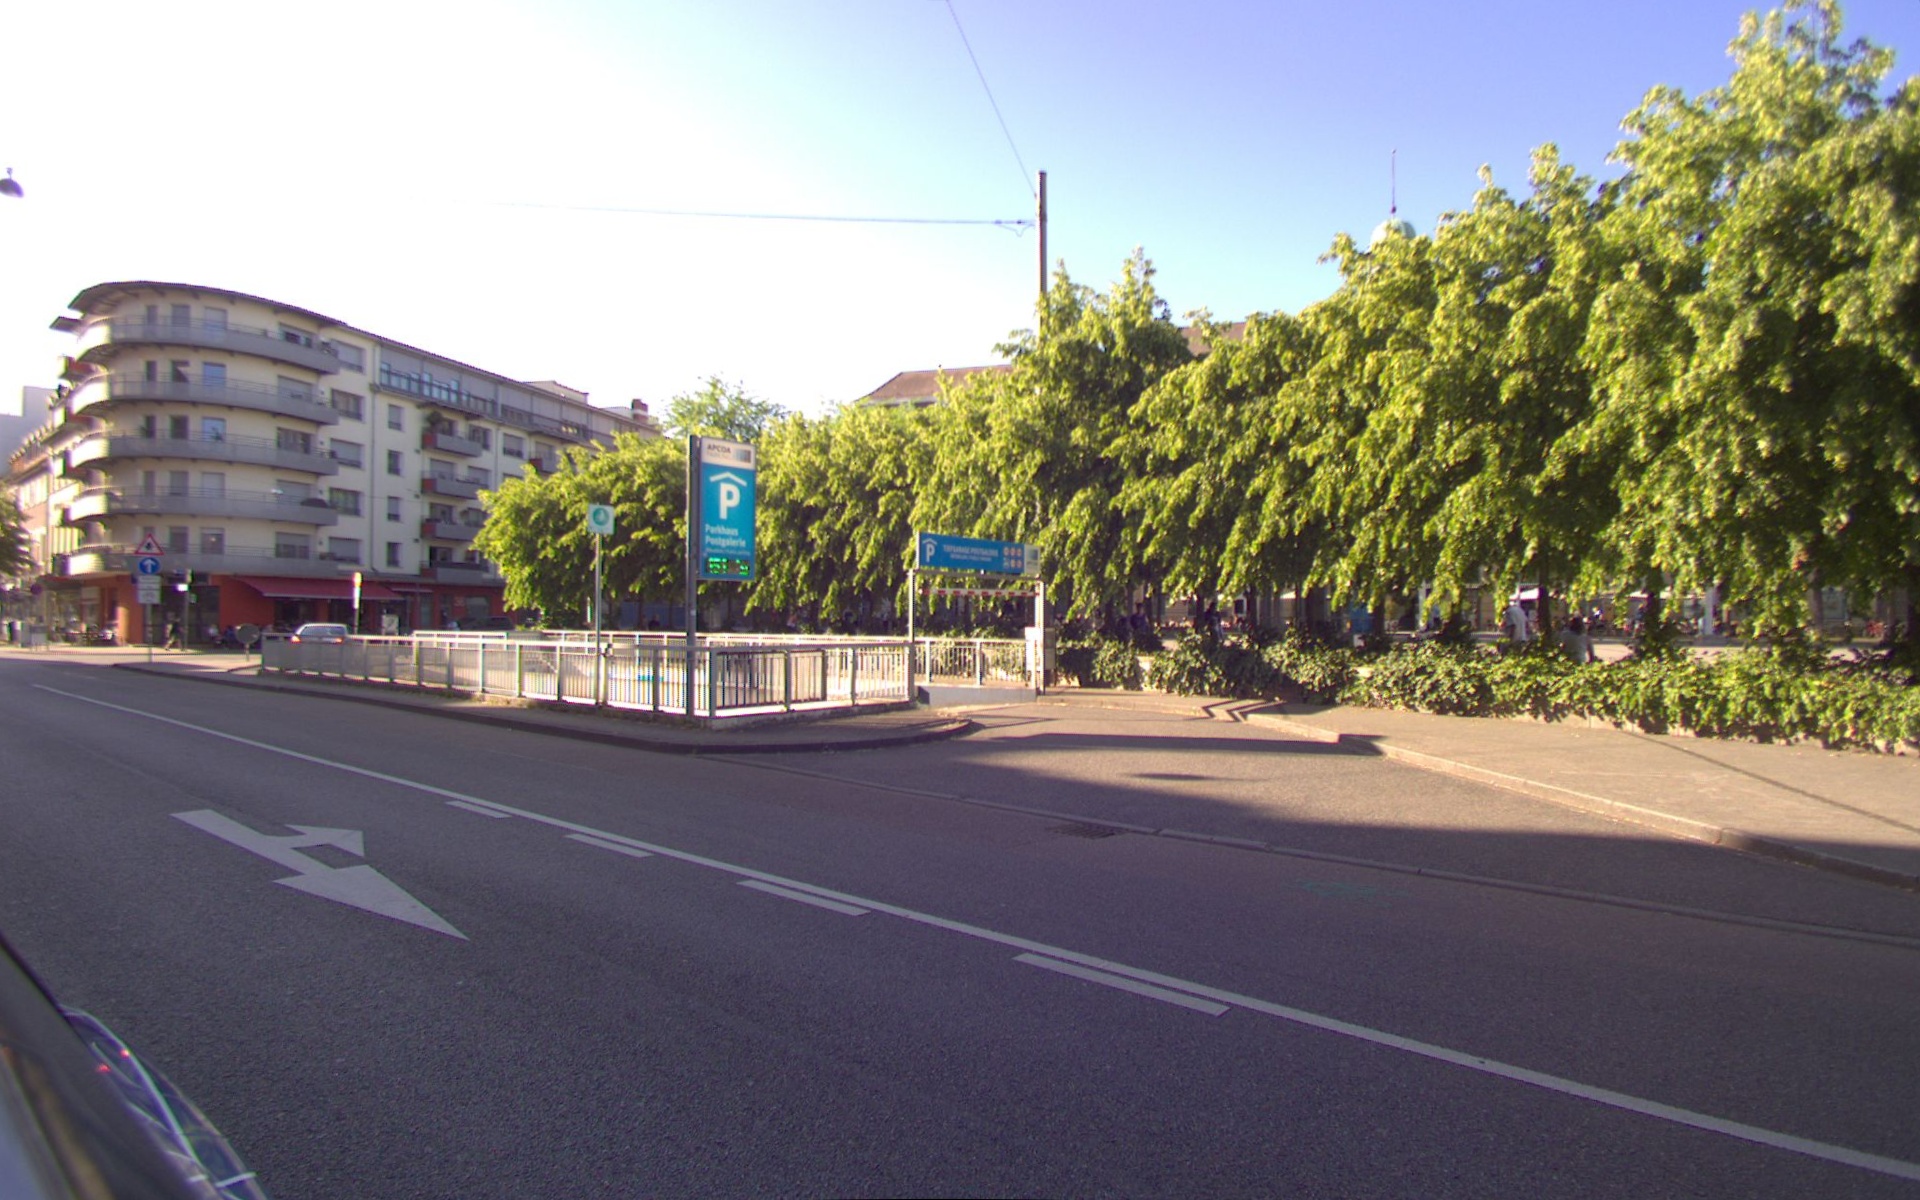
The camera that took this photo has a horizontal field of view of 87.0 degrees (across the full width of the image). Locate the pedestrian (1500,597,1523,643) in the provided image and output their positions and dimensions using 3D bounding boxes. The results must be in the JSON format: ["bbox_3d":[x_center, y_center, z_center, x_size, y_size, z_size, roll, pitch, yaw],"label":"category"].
[{"bbox_3d":[20.671,0.745,37.930,0.643,1.734,0.604,-1,0,22],"label":"pedestrian"}]

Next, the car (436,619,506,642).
[{"bbox_3d":[-30.507,1.891,63.213,1.742,1.311,3.977,-1,-1,17],"label":"car"}]

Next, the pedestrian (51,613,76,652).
[{"bbox_3d":[-46.718,1.677,52.746,0.888,2.029,0.850,-1,0,40],"label":"pedestrian"}]

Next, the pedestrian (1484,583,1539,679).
[{"bbox_3d":[9.855,0.539,18.102,0.645,1.661,0.626,-1,0,-35],"label":"pedestrian"}]

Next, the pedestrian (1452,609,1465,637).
[{"bbox_3d":[31.183,1.418,63.319,0.642,1.734,0.604,-1,0,20],"label":"pedestrian"}]

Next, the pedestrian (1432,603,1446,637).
[{"bbox_3d":[24.766,1.031,52.344,0.643,1.734,0.603,-1,0,26],"label":"pedestrian"}]

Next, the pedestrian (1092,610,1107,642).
[{"bbox_3d":[7.556,1.407,54.764,0.606,1.734,0.640,-1,0,31],"label":"pedestrian"}]

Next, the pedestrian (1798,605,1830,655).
[{"bbox_3d":[30.228,1.054,35.816,0.641,1.734,0.605,-1,0,18],"label":"pedestrian"}]

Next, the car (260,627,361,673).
[{"bbox_3d":[-21.340,1.619,33.189,4.266,1.363,1.798,0,-3,44],"label":"car"}]

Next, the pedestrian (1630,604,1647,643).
[{"bbox_3d":[35.201,1.206,52.500,0.676,1.963,0.632,-1,0,38],"label":"pedestrian"}]

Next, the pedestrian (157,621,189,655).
[{"bbox_3d":[-37.922,1.816,48.764,0.877,1.607,0.861,-1,0,2],"label":"pedestrian"}]

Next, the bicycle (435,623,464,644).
[{"bbox_3d":[-29.456,1.933,58.406,0.523,1.179,1.584,-1,0,18],"label":"bicycle"}]

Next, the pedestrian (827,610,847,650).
[{"bbox_3d":[-5.473,1.334,45.034,0.604,1.734,0.642,-1,0,21],"label":"pedestrian"}]

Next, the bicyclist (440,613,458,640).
[{"bbox_3d":[-29.464,1.534,58.380,0.521,1.559,0.794,-1,0,18],"label":"bicyclist"}]

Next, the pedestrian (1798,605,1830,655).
[{"bbox_3d":[30.226,1.055,35.822,0.640,1.734,0.606,-1,0,13],"label":"pedestrian"}]
